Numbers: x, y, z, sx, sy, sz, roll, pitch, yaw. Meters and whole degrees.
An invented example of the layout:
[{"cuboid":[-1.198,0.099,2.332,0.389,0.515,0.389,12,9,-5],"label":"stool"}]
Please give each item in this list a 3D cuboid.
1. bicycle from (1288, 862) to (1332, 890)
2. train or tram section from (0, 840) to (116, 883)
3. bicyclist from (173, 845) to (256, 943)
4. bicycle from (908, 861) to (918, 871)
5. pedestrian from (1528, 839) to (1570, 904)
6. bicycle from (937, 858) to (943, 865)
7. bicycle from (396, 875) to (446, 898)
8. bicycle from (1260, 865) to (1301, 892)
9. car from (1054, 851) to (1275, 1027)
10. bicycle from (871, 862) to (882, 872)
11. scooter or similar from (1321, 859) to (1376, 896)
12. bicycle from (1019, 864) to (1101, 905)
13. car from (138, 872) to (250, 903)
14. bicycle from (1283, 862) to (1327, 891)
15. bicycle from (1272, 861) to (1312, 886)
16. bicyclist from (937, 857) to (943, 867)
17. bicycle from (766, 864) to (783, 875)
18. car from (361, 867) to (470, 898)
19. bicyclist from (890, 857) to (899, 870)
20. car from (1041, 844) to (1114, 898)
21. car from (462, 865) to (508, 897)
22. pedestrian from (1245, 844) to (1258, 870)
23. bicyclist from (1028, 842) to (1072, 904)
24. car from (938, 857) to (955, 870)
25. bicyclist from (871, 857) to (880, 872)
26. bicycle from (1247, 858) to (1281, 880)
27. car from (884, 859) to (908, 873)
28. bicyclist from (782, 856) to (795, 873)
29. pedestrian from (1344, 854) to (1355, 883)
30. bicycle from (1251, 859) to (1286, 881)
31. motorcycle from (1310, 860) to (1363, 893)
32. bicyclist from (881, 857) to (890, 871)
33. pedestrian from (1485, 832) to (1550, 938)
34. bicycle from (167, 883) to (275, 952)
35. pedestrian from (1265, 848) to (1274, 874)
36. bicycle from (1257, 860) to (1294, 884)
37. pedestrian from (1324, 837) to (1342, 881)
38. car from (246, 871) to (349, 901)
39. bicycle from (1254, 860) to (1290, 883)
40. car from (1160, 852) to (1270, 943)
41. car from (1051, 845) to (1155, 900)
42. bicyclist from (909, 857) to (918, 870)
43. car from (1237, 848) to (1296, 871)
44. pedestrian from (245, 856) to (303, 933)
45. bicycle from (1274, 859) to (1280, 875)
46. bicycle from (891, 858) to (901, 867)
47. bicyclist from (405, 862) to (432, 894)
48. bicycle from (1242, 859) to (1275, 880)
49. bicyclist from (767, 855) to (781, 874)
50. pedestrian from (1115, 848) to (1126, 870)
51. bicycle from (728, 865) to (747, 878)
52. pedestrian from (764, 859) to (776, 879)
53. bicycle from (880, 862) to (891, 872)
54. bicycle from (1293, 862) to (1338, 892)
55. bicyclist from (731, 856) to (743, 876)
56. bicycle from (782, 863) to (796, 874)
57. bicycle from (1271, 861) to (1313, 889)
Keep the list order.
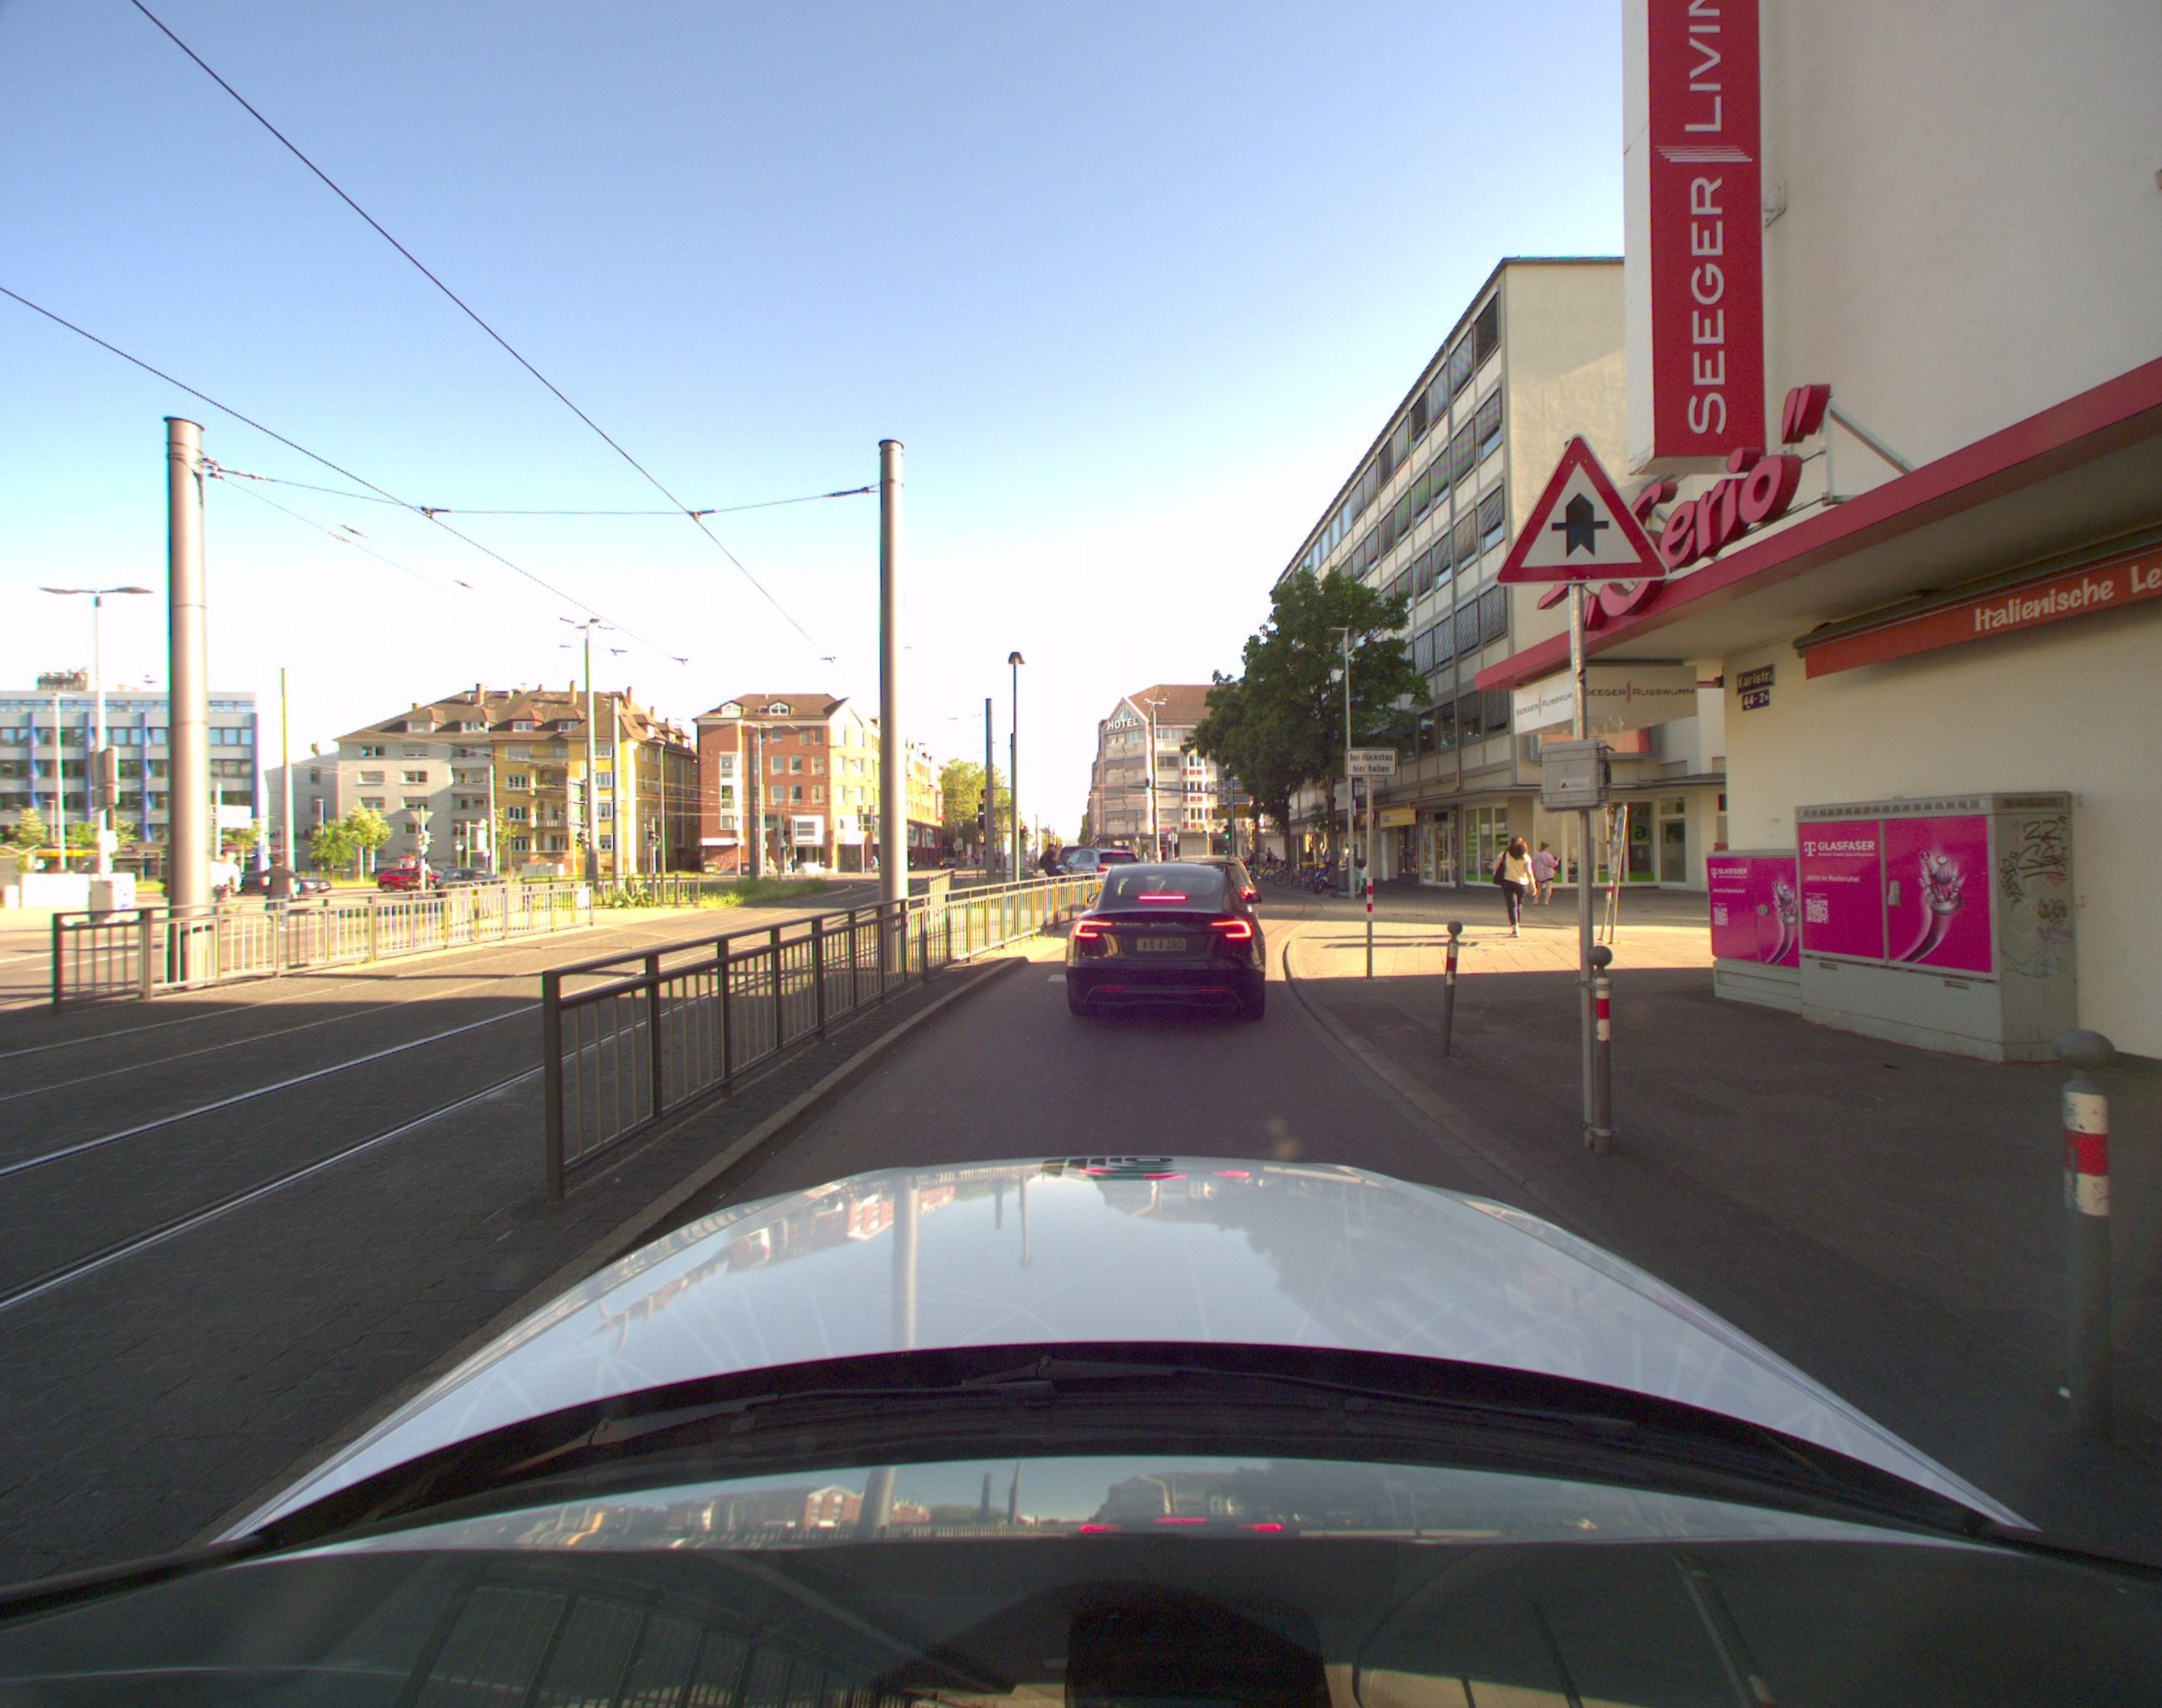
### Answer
[{"cuboid":[8.816,0.857,31.361,1.649,1.061,0.349,0,-1,-9],"label":"bicycle"},{"cuboid":[-80.686,0.556,61.259,11.230,3.131,2.796,0,-1,-10],"label":"train or tram section"},{"cuboid":[-15.993,0.718,15.043,0.745,1.759,0.761,-1,-1,12],"label":"bicyclist"},{"cuboid":[-19.741,1.396,95.818,0.456,1.093,2.205,0,-1,6],"label":"bicycle"},{"cuboid":[12.422,0.464,21.654,0.881,1.667,0.813,-1,-1,25],"label":"pedestrian"},{"cuboid":[-22.154,1.231,128.019,0.527,1.088,2.227,0,-1,4],"label":"bicycle"},{"cuboid":[-37.396,1.838,46.173,2.188,1.214,0.544,0,-1,-11],"label":"bicycle"},{"cuboid":[8.368,1.028,34.142,1.649,1.099,0.349,0,-1,-9],"label":"bicycle"},{"cuboid":[0.926,0.724,8.806,1.820,1.455,4.007,0,-1,7],"label":"car"},{"cuboid":[-22.283,1.405,88.784,0.535,1.088,2.227,0,-1,4],"label":"bicycle"},{"cuboid":[8.896,0.765,27.098,1.625,1.215,0.649,-1,-1,32],"label":"scooter or similar"},{"cuboid":[-0.562,0.818,22.565,2.346,1.053,0.624,0,-1,-36],"label":"bicycle"},{"cuboid":[-50.623,1.881,46.566,3.952,1.685,1.903,0,-1,-11],"label":"car"},{"cuboid":[8.730,0.860,31.787,1.649,1.099,0.349,0,-1,-9],"label":"bicycle"},{"cuboid":[9.118,0.843,35.257,1.643,1.099,0.350,0,-1,3],"label":"bicycle"},{"cuboid":[-22.152,1.321,127.965,0.780,1.563,0.747,0,-1,3],"label":"bicyclist"},{"cuboid":[-25.838,1.299,68.593,0.522,0.972,2.247,0,-1,2],"label":"bicycle"},{"cuboid":[-39.455,1.656,48.377,4.585,1.700,1.993,0,-1,-10],"label":"car"},{"cuboid":[-22.072,1.151,96.298,0.780,1.563,0.747,-1,0,3],"label":"bicyclist"},{"cuboid":[-0.225,0.667,32.799,1.997,2.014,3.980,-1,0,-15],"label":"car"},{"cuboid":[-29.649,1.301,40.477,1.653,1.526,3.821,0,-1,-39],"label":"car"},{"cuboid":[11.084,0.205,53.061,0.697,1.662,0.777,0,-1,1],"label":"pedestrian"},{"cuboid":[-0.855,0.513,22.304,0.763,1.628,0.967,0,-1,-37],"label":"bicyclist"},{"cuboid":[-17.578,1.244,106.682,1.692,1.731,3.706,0,-1,0],"label":"car"},{"cuboid":[-22.299,1.152,88.451,0.780,1.563,0.747,0,-1,3],"label":"bicyclist"},{"cuboid":[9.263,0.762,41.297,1.643,1.099,0.350,-1,0,3],"label":"bicycle"},{"cuboid":[-19.542,1.260,86.068,1.706,1.527,4.032,0,-1,-3],"label":"car"},{"cuboid":[-26.945,0.961,74.977,0.699,1.471,0.975,-1,0,9],"label":"bicyclist"},{"cuboid":[12.529,0.663,37.991,0.388,1.343,0.513,0,-1,4],"label":"pedestrian"},{"cuboid":[9.281,0.800,40.250,1.643,1.099,0.350,0,-1,3],"label":"bicycle"},{"cuboid":[9.143,0.802,29.168,1.701,1.173,0.541,0,-1,0],"label":"motorcycle"},{"cuboid":[-22.272,1.135,92.991,0.780,1.563,0.747,-1,0,3],"label":"bicyclist"},{"cuboid":[7.539,0.520,14.117,0.906,1.752,1.044,-1,0,25],"label":"pedestrian"},{"cuboid":[-15.822,1.145,14.983,1.836,1.222,0.487,-1,-1,13],"label":"bicycle"},{"cuboid":[12.278,0.444,53.124,0.523,1.710,0.404,-1,-1,10],"label":"pedestrian"},{"cuboid":[9.140,0.838,38.211,1.643,1.099,0.350,0,-1,3],"label":"bicycle"},{"cuboid":[11.802,0.243,38.125,0.659,2.014,0.580,0,-1,4],"label":"pedestrian"},{"cuboid":[-45.493,1.841,47.383,3.984,1.672,1.772,0,-1,-8],"label":"car"},{"cuboid":[9.205,0.843,39.237,1.643,1.099,0.350,0,-1,3],"label":"bicycle"},{"cuboid":[2.438,0.694,15.060,1.741,1.454,4.009,-1,0,8],"label":"car"},{"cuboid":[0.624,0.573,26.698,1.891,1.662,4.126,0,-1,-23],"label":"car"},{"cuboid":[-19.734,1.147,95.954,0.781,1.527,0.590,0,-1,6],"label":"bicyclist"},{"cuboid":[13.420,0.370,58.967,3.805,1.615,1.825,0,-1,-3],"label":"car"},{"cuboid":[-17.903,0.879,18.074,0.585,1.681,0.779,-1,-1,30],"label":"pedestrian"},{"cuboid":[12.662,0.826,52.521,0.330,1.034,1.260,-1,-1,12],"label":"bicycle"},{"cuboid":[-21.984,0.968,96.904,0.527,1.088,2.286,0,-1,4],"label":"bicycle"},{"cuboid":[-37.517,1.359,46.121,0.901,1.808,0.788,0,-1,-11],"label":"bicyclist"},{"cuboid":[9.244,0.792,42.392,1.643,1.099,0.350,0,-1,3],"label":"bicycle"},{"cuboid":[-25.852,0.883,68.574,0.895,1.503,0.696,0,-1,1],"label":"bicyclist"},{"cuboid":[3.482,0.443,72.135,0.917,2.014,0.973,0,-1,1],"label":"pedestrian"},{"cuboid":[-26.028,1.332,61.686,0.445,0.972,2.247,0,-1,2],"label":"bicycle"},{"cuboid":[-28.971,1.361,75.846,0.780,1.820,0.747,0,-1,3],"label":"pedestrian"},{"cuboid":[-22.267,1.510,92.953,0.527,1.088,2.286,-1,0,4],"label":"bicycle"},{"cuboid":[8.894,0.861,30.937,1.649,1.099,0.349,0,-1,-9],"label":"bicycle"},{"cuboid":[-26.037,0.921,61.659,0.631,1.503,0.696,0,-1,1],"label":"bicyclist"},{"cuboid":[-26.861,1.362,74.948,0.402,0.981,1.699,-1,-1,10],"label":"bicycle"},{"cuboid":[8.616,0.848,33.319,1.649,1.099,0.349,0,-1,-9],"label":"bicycle"}]
